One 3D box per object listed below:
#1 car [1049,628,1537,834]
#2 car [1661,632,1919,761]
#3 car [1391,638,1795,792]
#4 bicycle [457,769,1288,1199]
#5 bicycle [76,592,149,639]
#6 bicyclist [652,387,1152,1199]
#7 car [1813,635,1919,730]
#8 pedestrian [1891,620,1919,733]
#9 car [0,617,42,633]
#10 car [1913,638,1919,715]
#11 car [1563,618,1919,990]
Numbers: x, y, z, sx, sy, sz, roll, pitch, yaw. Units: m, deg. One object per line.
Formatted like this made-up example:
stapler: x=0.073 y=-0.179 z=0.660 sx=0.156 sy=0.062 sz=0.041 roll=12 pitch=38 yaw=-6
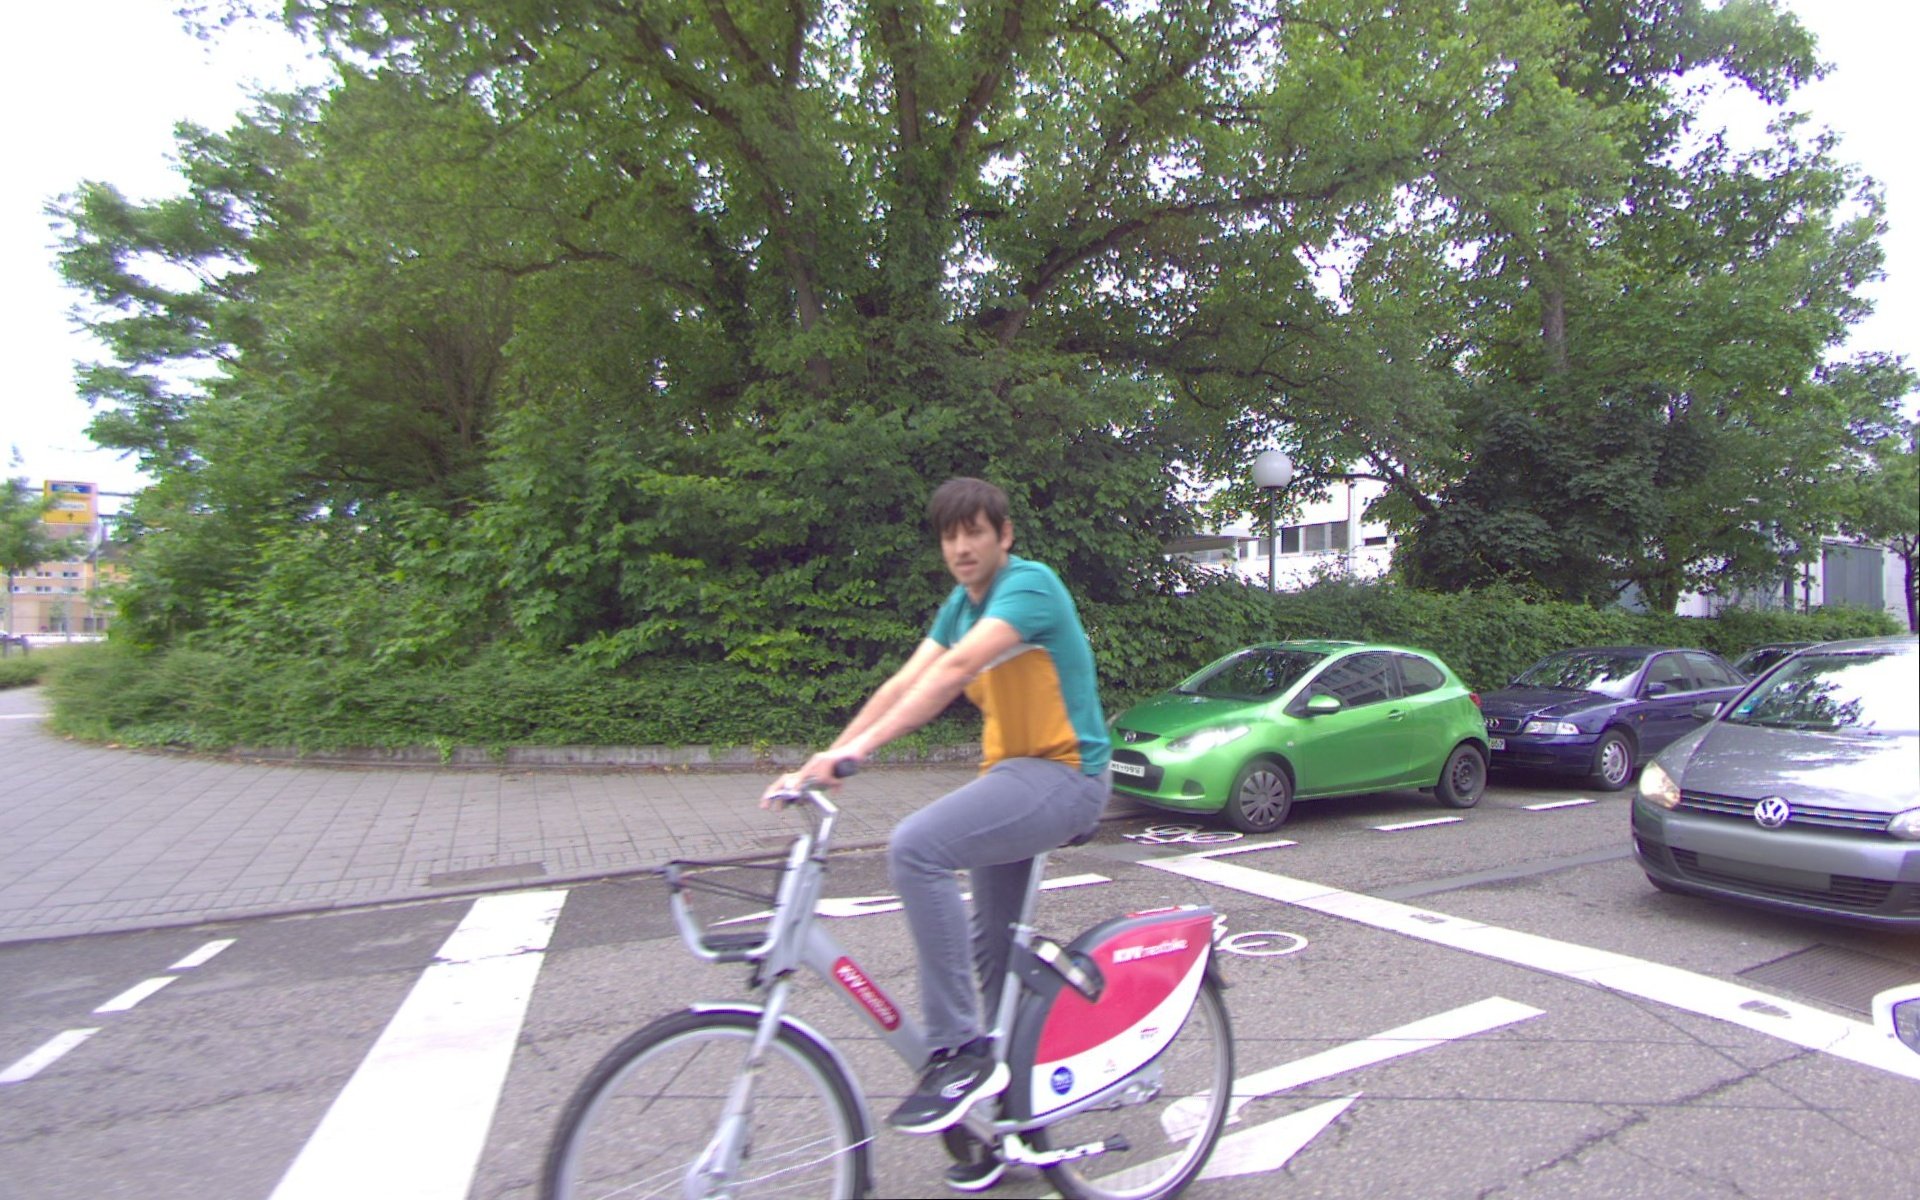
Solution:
car: x=3.047 y=1.033 z=9.069 sx=4.194 sy=1.489 sz=1.791 roll=2 pitch=-3 yaw=-28
car: x=12.183 y=1.261 z=14.355 sx=4.476 sy=1.581 sz=1.790 roll=1 pitch=-2 yaw=-30
car: x=7.035 y=1.156 z=11.129 sx=4.278 sy=1.426 sz=1.792 roll=1 pitch=-3 yaw=-26
bicycle: x=-0.133 y=1.014 z=2.350 sx=1.835 sy=1.051 sz=0.654 roll=2 pitch=-3 yaw=-30
bicycle: x=-19.608 y=0.375 z=23.285 sx=0.772 sy=1.051 sz=1.854 roll=1 pitch=-2 yaw=-24
bicyclist: x=-0.124 y=0.536 z=2.367 sx=0.974 sy=1.803 sz=0.652 roll=2 pitch=-3 yaw=-36
car: x=16.544 y=1.365 z=17.203 sx=3.779 sy=1.490 sz=1.754 roll=2 pitch=-3 yaw=-30
pedestrian: x=14.808 y=1.141 z=15.189 sx=0.955 sy=1.683 sz=0.736 roll=0 pitch=-2 yaw=-27
car: x=-84.798 y=2.228 z=89.591 sx=3.952 sy=1.394 sz=1.985 roll=1 pitch=-2 yaw=-29
car: x=20.185 y=1.449 z=19.283 sx=3.962 sy=1.430 sz=1.755 roll=1 pitch=-2 yaw=-31
car: x=5.445 y=0.903 z=5.611 sx=4.118 sy=1.517 sz=1.775 roll=2 pitch=-3 yaw=-30
